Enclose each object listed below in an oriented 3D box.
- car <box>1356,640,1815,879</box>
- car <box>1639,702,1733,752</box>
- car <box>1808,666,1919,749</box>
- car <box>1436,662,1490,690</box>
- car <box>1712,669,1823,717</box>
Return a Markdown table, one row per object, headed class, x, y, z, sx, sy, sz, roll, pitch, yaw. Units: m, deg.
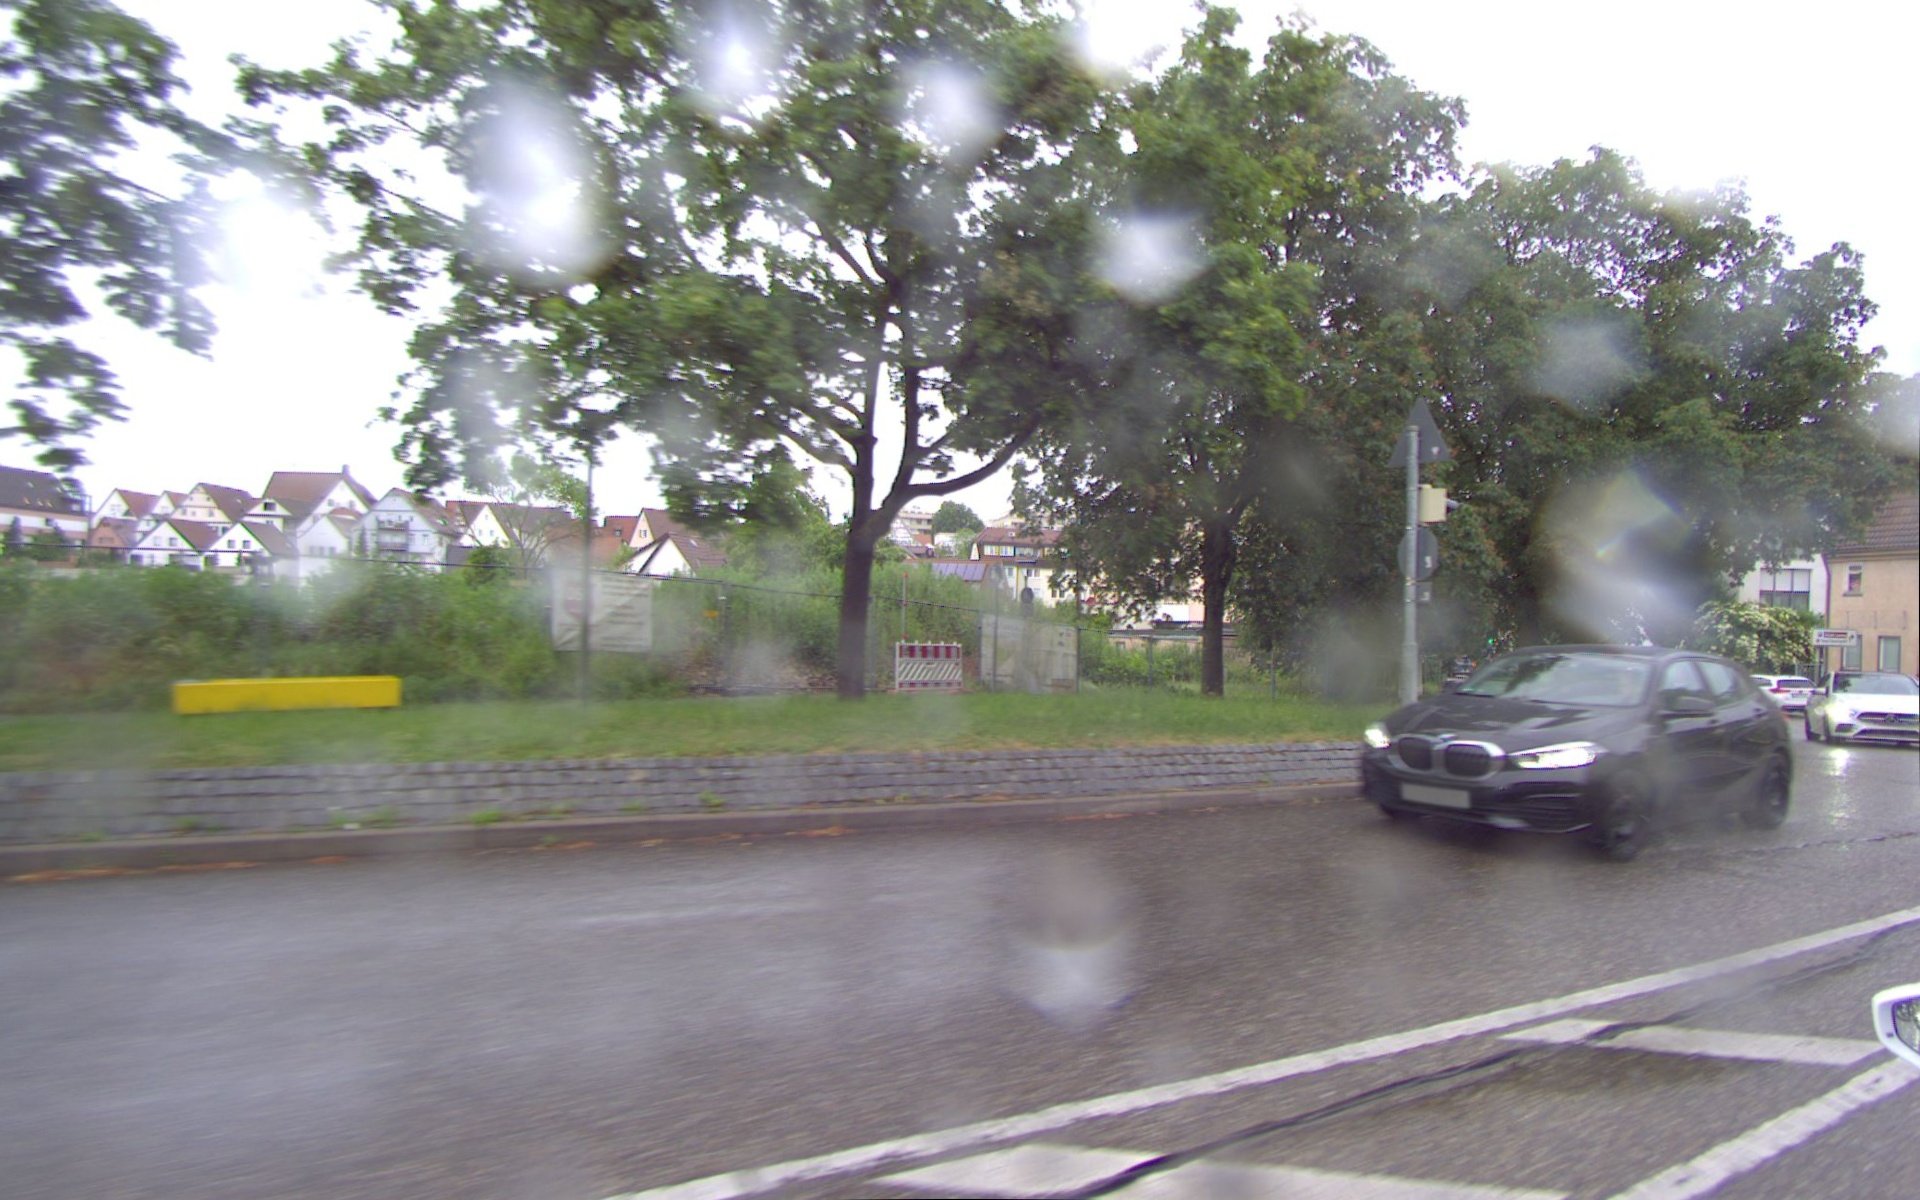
| class | x | y | z | sx | sy | sz | roll | pitch | yaw |
| --- | --- | --- | --- | --- | --- | --- | --- | --- | --- |
| car | 5.166 | 1.104 | 8.133 | 4.014 | 1.429 | 1.724 | 3 | -1 | -35 |
| car | 27.474 | 4.757 | 38.156 | 1.699 | 1.563 | 4.303 | 2 | -4 | 19 |
| car | 19.188 | 2.194 | 21.218 | 1.701 | 1.524 | 4.243 | 0 | -3 | 37 |
| car | 32.851 | 4.965 | 65.701 | 1.861 | 1.611 | 3.690 | 1 | -1 | 3 |
| car | 30.219 | 3.468 | 37.726 | 1.698 | 1.611 | 4.188 | 2 | -4 | 15 |
